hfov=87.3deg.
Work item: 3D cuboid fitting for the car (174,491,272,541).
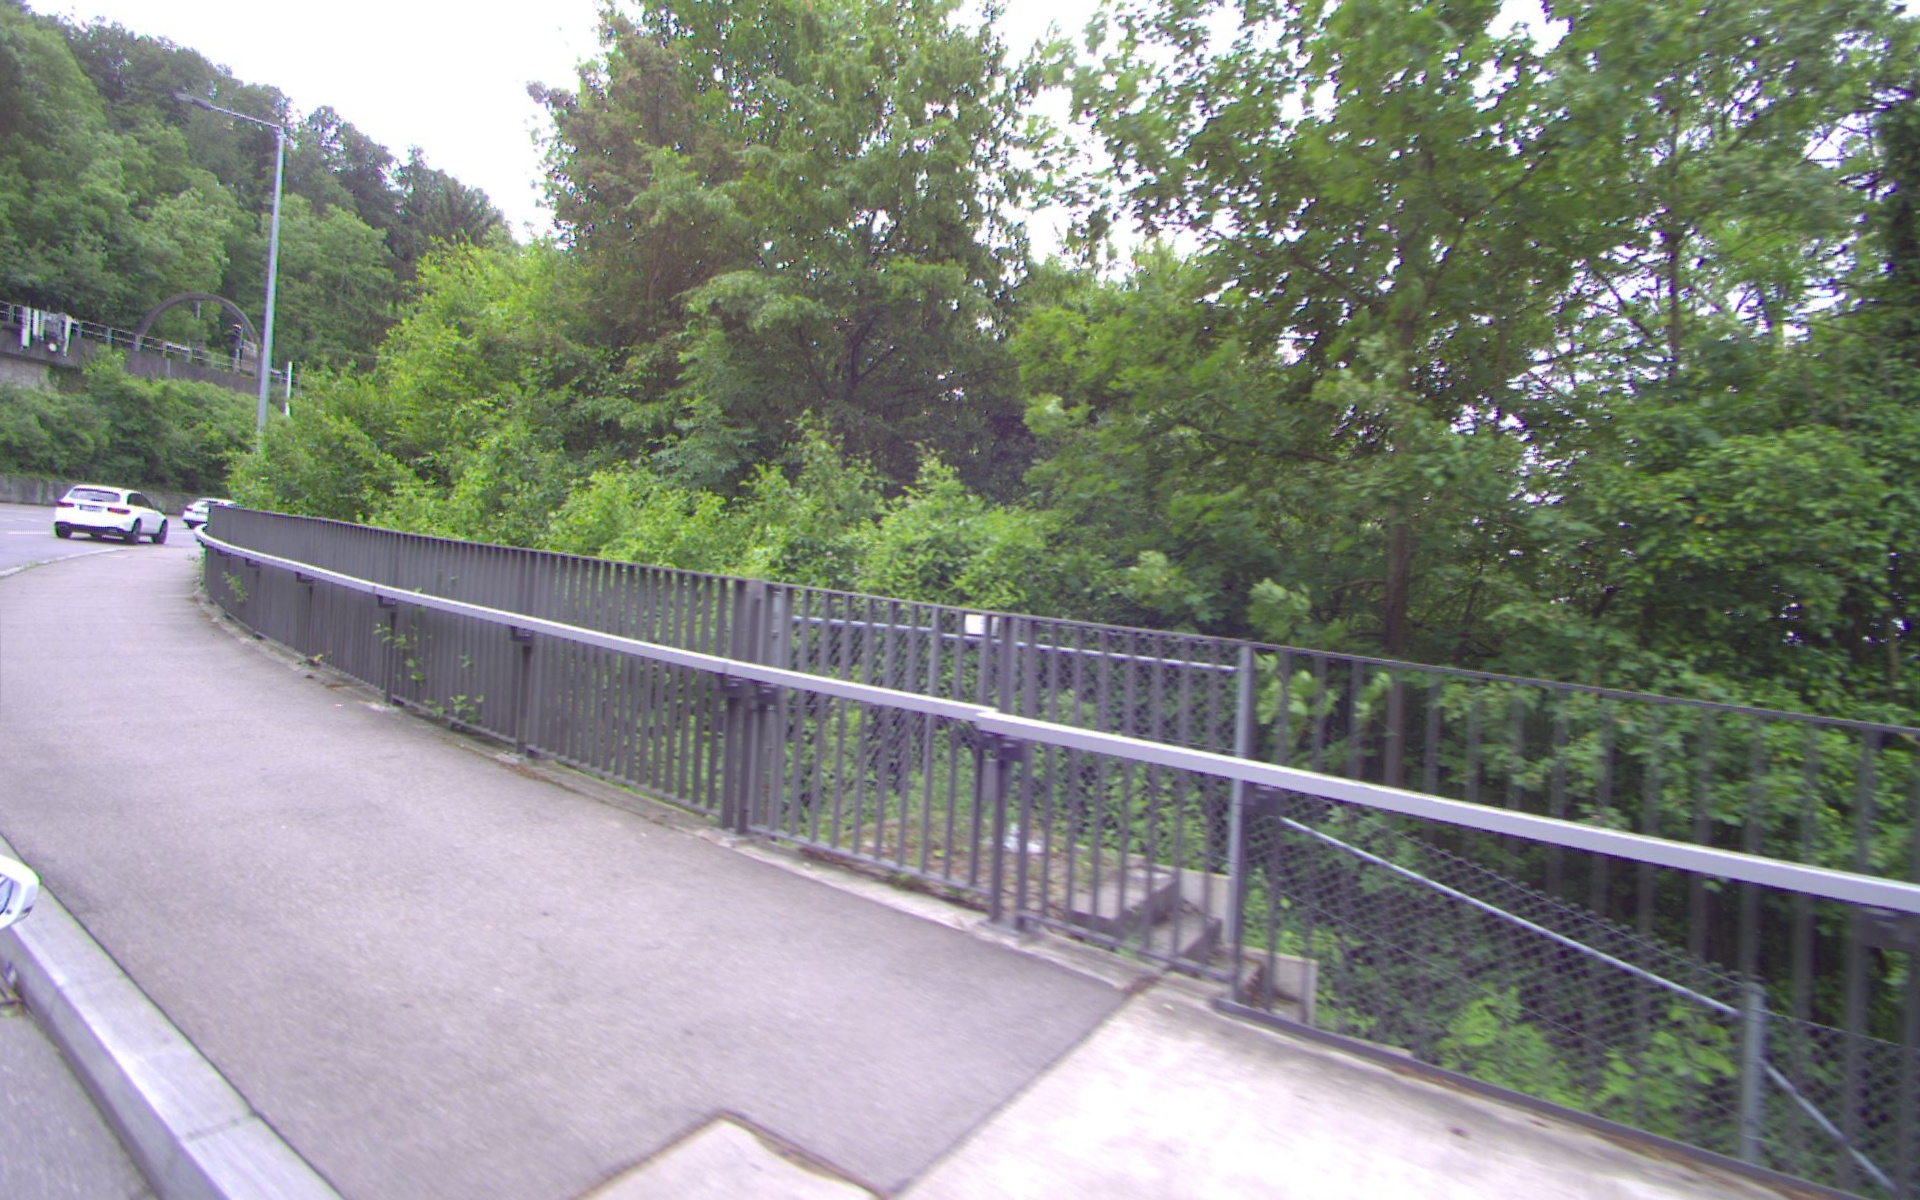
[{"bbox_3d":[-34.226,-3.847,46.891,1.717,1.535,4.308,8,-4,-9],"label":"car"}]

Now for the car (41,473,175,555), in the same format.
[{"bbox_3d":[-26.131,-2.551,31.034,1.977,1.863,4.127,9,-4,-26],"label":"car"}]
